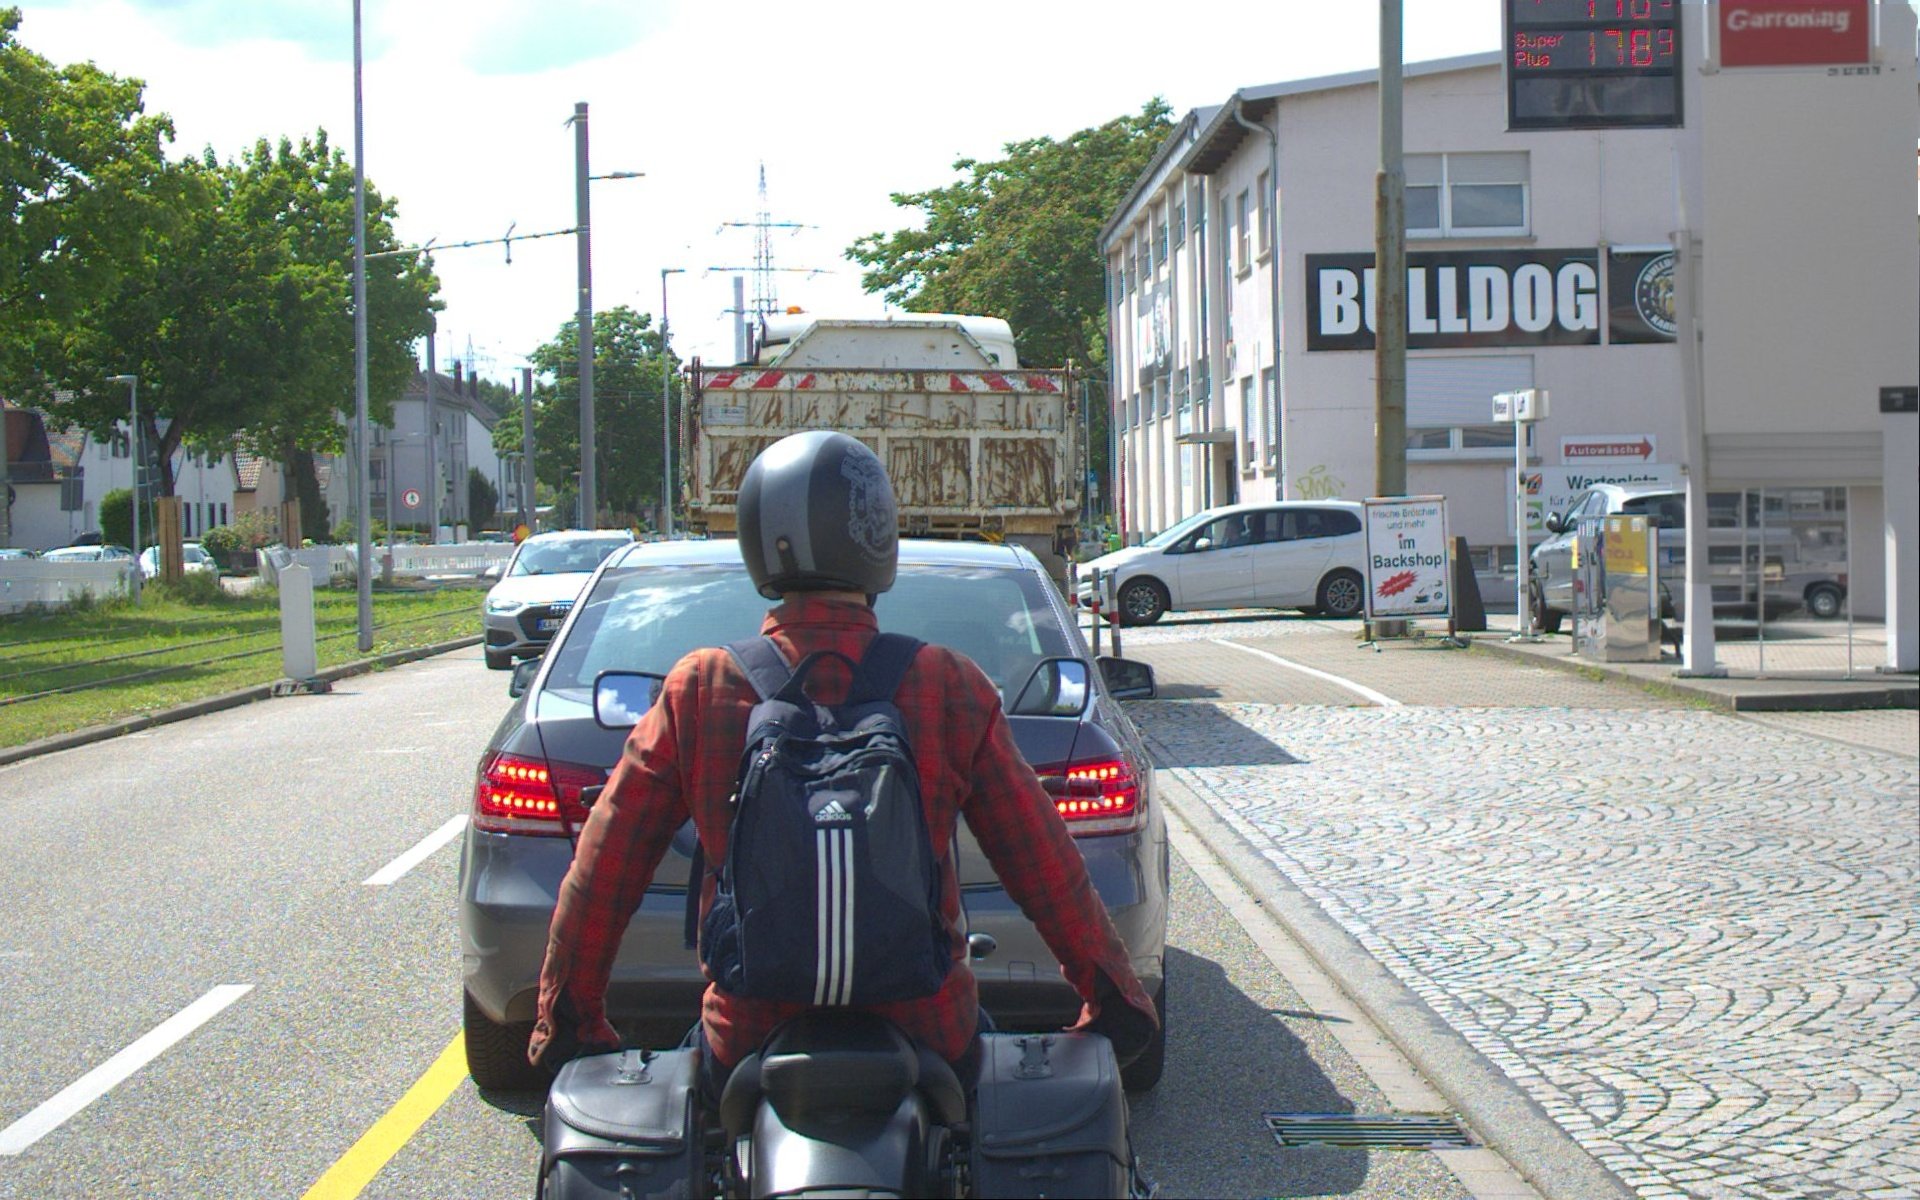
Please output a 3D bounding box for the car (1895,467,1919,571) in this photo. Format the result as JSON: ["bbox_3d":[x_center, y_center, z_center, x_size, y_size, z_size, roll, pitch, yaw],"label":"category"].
[{"bbox_3d":[17.124,-1.352,54.527,3.987,1.643,1.966,-2,1,-1],"label":"car"}]

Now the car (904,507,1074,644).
[{"bbox_3d":[0.306,-0.314,39.056,1.821,1.459,4.000,0,1,0],"label":"car"}]

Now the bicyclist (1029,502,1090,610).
[{"bbox_3d":[1.617,-0.715,55.629,0.672,1.738,0.812,0,1,27],"label":"bicyclist"}]

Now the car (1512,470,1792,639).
[{"bbox_3d":[7.303,-0.486,36.679,1.959,1.643,4.001,-2,1,-3],"label":"car"}]

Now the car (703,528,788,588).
[{"bbox_3d":[-5.286,-1.051,85.116,1.846,1.382,4.345,-2,1,-1],"label":"car"}]

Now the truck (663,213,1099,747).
[{"bbox_3d":[-0.494,-0.816,26.033,2.610,3.245,9.182,-2,1,0],"label":"truck"}]

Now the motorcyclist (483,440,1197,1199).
[{"bbox_3d":[-0.174,0.587,5.210,0.939,1.609,1.205,1,1,-1],"label":"motorcyclist"}]

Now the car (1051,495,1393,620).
[{"bbox_3d":[3.573,-0.588,47.335,4.329,1.546,1.950,-2,1,-8],"label":"car"}]

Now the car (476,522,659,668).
[{"bbox_3d":[-4.264,-0.104,37.837,1.654,1.442,4.304,-2,2,-2],"label":"car"}]

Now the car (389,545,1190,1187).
[{"bbox_3d":[-0.411,0.577,9.866,1.821,1.419,4.000,0,1,-1],"label":"car"}]

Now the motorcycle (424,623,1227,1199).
[{"bbox_3d":[-0.181,0.736,5.394,0.939,1.316,2.645,1,1,-1],"label":"motorcycle"}]

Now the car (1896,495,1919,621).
[{"bbox_3d":[11.808,-0.483,37.415,1.959,1.415,4.001,-2,1,-3],"label":"car"}]

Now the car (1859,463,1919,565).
[{"bbox_3d":[17.213,-1.477,57.074,3.987,1.643,1.966,-2,1,-1],"label":"car"}]

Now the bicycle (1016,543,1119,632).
[{"bbox_3d":[1.757,-0.217,55.716,0.694,1.357,2.415,-1,2,27],"label":"bicycle"}]
